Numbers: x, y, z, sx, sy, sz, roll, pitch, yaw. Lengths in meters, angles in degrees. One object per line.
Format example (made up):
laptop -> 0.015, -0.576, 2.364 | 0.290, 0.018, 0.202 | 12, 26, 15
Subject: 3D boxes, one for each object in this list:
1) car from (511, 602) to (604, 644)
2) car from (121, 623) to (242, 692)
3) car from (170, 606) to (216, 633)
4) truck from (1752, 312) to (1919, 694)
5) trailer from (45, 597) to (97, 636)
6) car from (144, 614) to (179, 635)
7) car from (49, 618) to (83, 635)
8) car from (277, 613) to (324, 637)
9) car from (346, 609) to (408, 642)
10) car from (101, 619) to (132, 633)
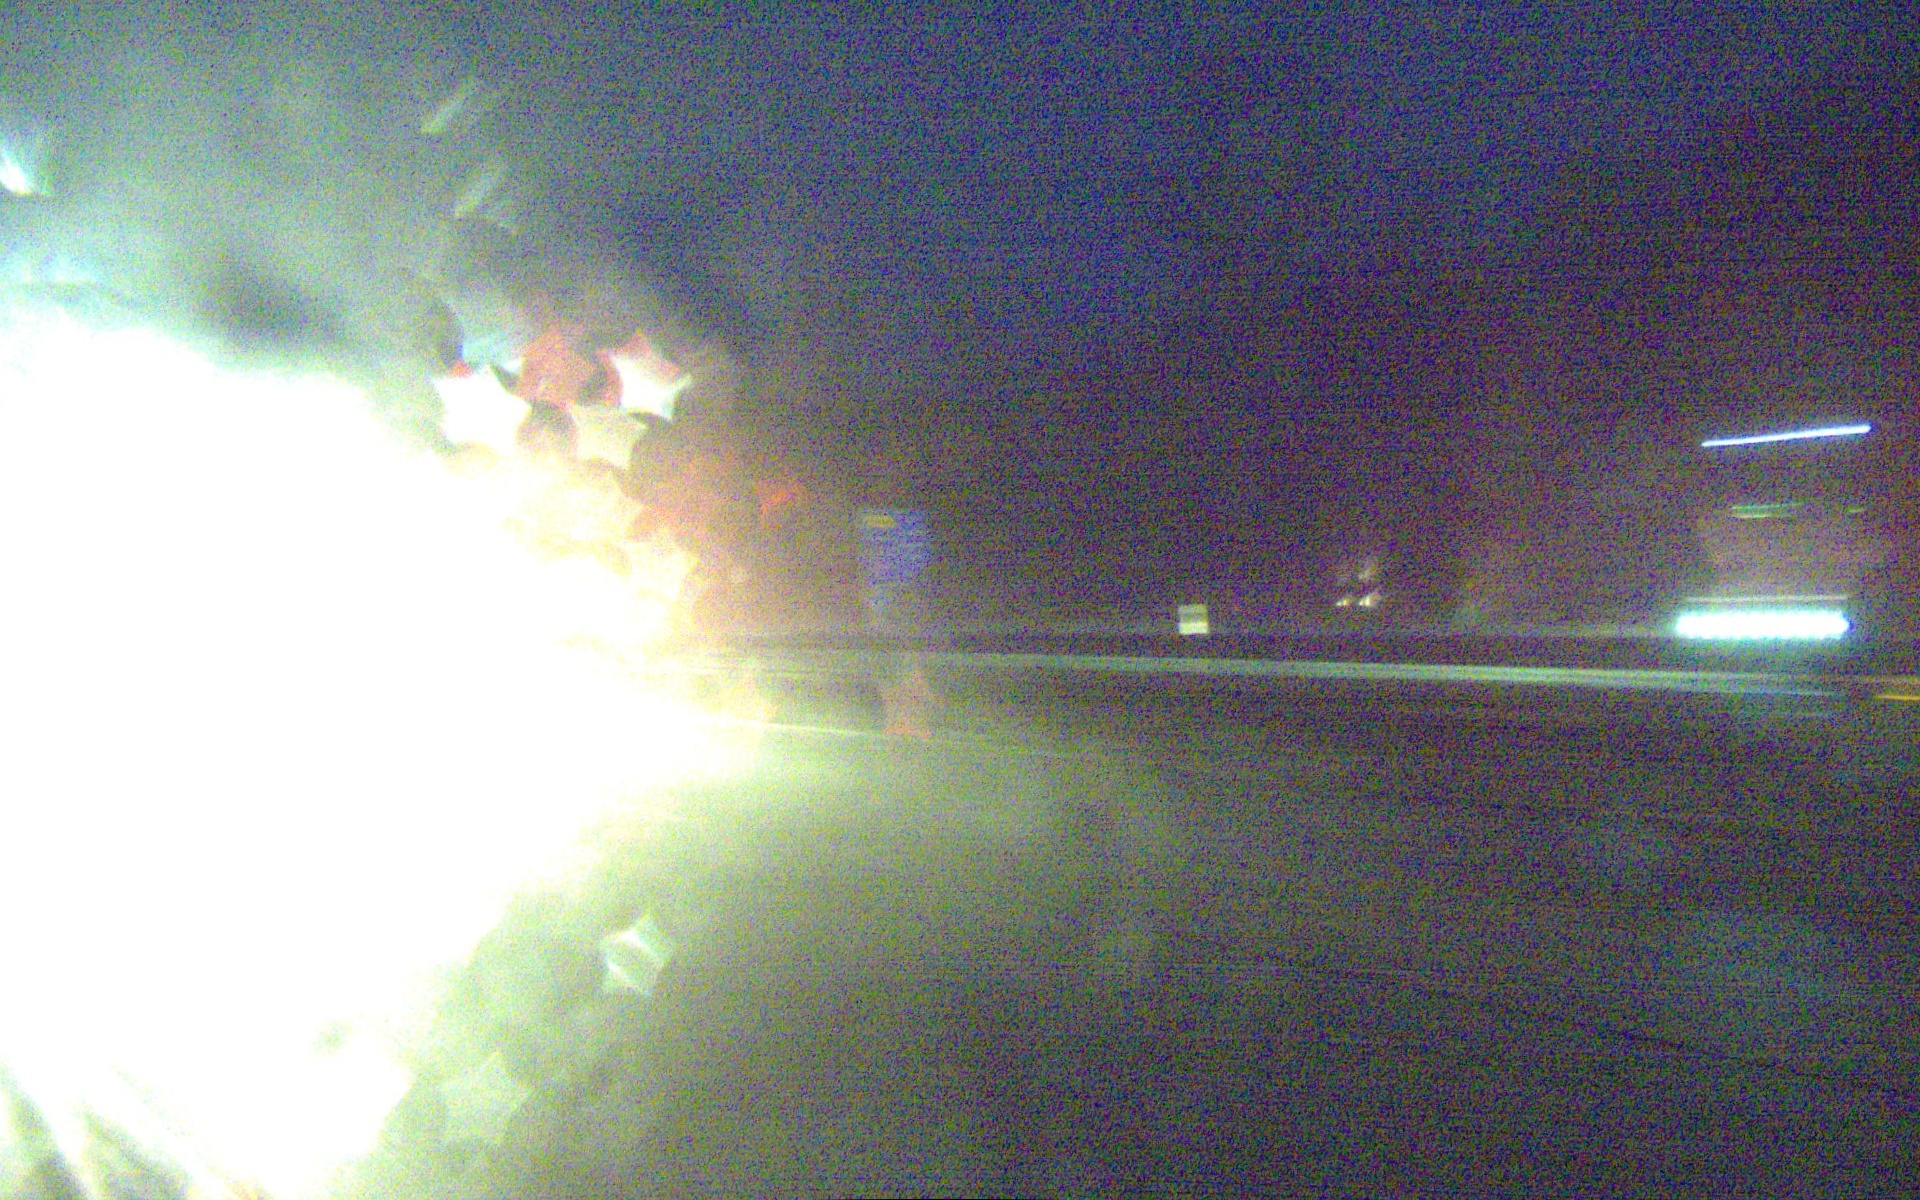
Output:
car -> -17.112, 0.941, 42.917 | 4.330, 1.660, 1.823 | -1, 0, 40
car -> -19.330, 1.388, 25.067 | 3.846, 1.587, 1.632 | -2, -2, 41
car -> -58.821, 1.483, 77.574 | 5.136, 1.924, 1.965 | -1, 0, 43
truck -> 13.031, -1.164, 11.868 | 5.844, 4.437, 2.540 | -1, 1, 39
trailer -> -102.236, 1.954, 116.273 | 11.720, 4.205, 3.318 | -2, -2, 43
car -> -74.302, 2.263, 94.150 | 4.843, 1.924, 1.871 | -1, 0, 43
car -> -85.899, 2.555, 97.209 | 4.304, 1.520, 1.862 | -1, 0, 41
car -> -44.100, 1.636, 67.687 | 3.803, 1.506, 1.745 | -1, 0, 43
car -> -31.763, 1.384, 55.132 | 4.199, 1.624, 1.788 | -3, -2, 43
car -> -87.519, 2.679, 104.947 | 4.165, 1.405, 1.820 | -1, -1, 41
